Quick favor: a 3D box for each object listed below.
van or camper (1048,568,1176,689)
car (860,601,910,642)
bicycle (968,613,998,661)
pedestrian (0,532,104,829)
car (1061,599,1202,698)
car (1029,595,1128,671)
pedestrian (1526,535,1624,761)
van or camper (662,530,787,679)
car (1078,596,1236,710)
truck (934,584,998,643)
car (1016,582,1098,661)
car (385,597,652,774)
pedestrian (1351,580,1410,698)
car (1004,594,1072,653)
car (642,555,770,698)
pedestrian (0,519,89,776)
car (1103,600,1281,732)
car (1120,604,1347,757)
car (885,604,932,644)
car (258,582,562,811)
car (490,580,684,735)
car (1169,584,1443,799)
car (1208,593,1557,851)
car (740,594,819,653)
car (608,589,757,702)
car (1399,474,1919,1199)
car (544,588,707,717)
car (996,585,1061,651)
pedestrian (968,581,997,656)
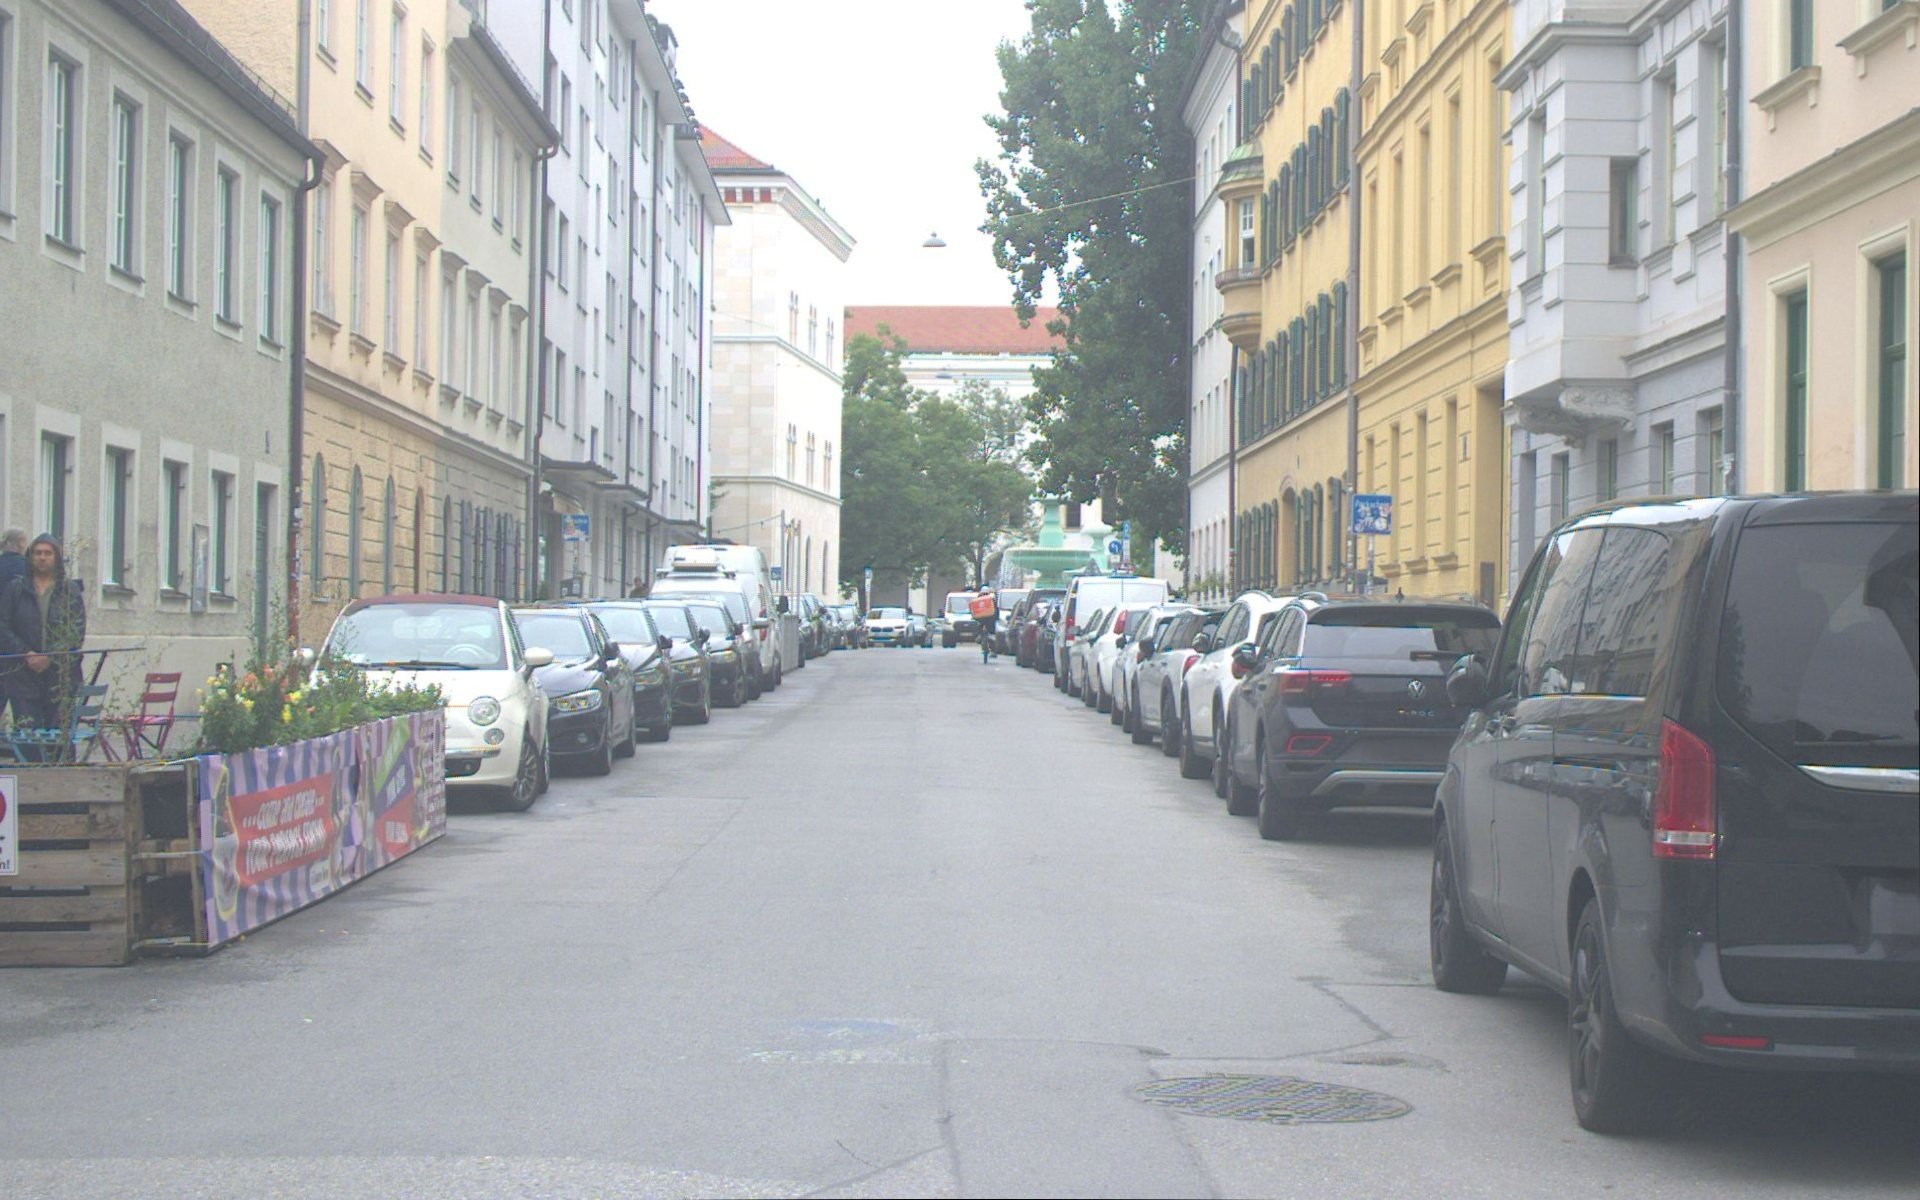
[{"bbox_3d":[2.459,0.452,56.598,1.833,1.865,5.079,1,0,0],"label":"van or camper"},{"bbox_3d":[-2.863,0.829,132.590,1.706,1.576,3.862,0,0,2],"label":"car"},{"bbox_3d":[0.521,0.862,79.441,0.675,1.091,1.760,1,-1,0],"label":"bicycle"},{"bbox_3d":[-5.624,0.491,21.028,0.528,1.776,0.877,1,-1,0],"label":"pedestrian"},{"bbox_3d":[2.532,0.704,51.713,1.708,1.388,4.207,1,0,-2],"label":"car"},{"bbox_3d":[2.422,0.667,71.116,1.811,1.460,4.247,2,0,-1],"label":"car"},{"bbox_3d":[5.498,0.431,30.754,0.669,1.974,0.708,-2,-1,0],"label":"pedestrian"},{"bbox_3d":[-3.807,0.076,56.214,1.754,2.273,5.273,1,0,-1],"label":"van or camper"},{"bbox_3d":[2.634,0.692,46.741,1.708,1.449,4.097,1,0,-2],"label":"car"},{"bbox_3d":[0.261,0.573,137.322,2.121,2.240,6.184,1,-1,4],"label":"truck"},{"bbox_3d":[2.319,0.513,83.401,1.812,1.791,4.246,2,0,0],"label":"car"},{"bbox_3d":[-3.746,0.684,29.869,1.798,1.335,4.686,1,1,-1],"label":"car"},{"bbox_3d":[5.674,0.531,46.389,0.660,1.566,0.642,-2,-1,-1],"label":"pedestrian"},{"bbox_3d":[2.185,0.651,97.314,1.812,1.609,4.155,1,0,0],"label":"car"},{"bbox_3d":[-3.773,0.375,50.921,1.754,1.988,4.626,1,0,-4],"label":"car"},{"bbox_3d":[-7.071,0.357,25.836,0.822,1.891,0.827,1,-1,-1],"label":"pedestrian"},{"bbox_3d":[2.647,0.729,40.147,1.708,1.404,4.814,1,0,0],"label":"car"},{"bbox_3d":[2.666,0.760,34.343,1.708,1.400,4.208,1,0,-3],"label":"car"},{"bbox_3d":[-2.061,0.968,138.724,1.706,1.576,3.862,0,0,2],"label":"car"},{"bbox_3d":[-3.869,0.641,24.713,1.754,1.470,3.714,2,0,-3],"label":"car"},{"bbox_3d":[-3.841,0.571,35.932,1.754,1.491,4.201,1,0,-3],"label":"car"},{"bbox_3d":[2.736,0.694,28.095,1.743,1.578,4.466,1,0,0],"label":"car"},{"bbox_3d":[2.705,0.744,22.911,1.754,1.516,4.274,1,0,0],"label":"car"},{"bbox_3d":[-4.444,0.575,84.946,1.817,1.439,3.818,0,0,-1],"label":"car"},{"bbox_3d":[-3.671,0.581,45.995,1.754,1.404,4.103,1,0,-2],"label":"car"},{"bbox_3d":[2.766,0.631,11.350,1.997,1.858,5.253,2,0,1],"label":"car"},{"bbox_3d":[-3.927,0.587,40.834,1.816,1.437,4.132,0,0,-4],"label":"car"},{"bbox_3d":[2.034,0.544,103.190,1.852,1.913,4.769,1,0,0],"label":"car"},{"bbox_3d":[0.524,0.428,79.429,0.642,1.708,0.842,1,-1,0],"label":"pedestrian"}]
